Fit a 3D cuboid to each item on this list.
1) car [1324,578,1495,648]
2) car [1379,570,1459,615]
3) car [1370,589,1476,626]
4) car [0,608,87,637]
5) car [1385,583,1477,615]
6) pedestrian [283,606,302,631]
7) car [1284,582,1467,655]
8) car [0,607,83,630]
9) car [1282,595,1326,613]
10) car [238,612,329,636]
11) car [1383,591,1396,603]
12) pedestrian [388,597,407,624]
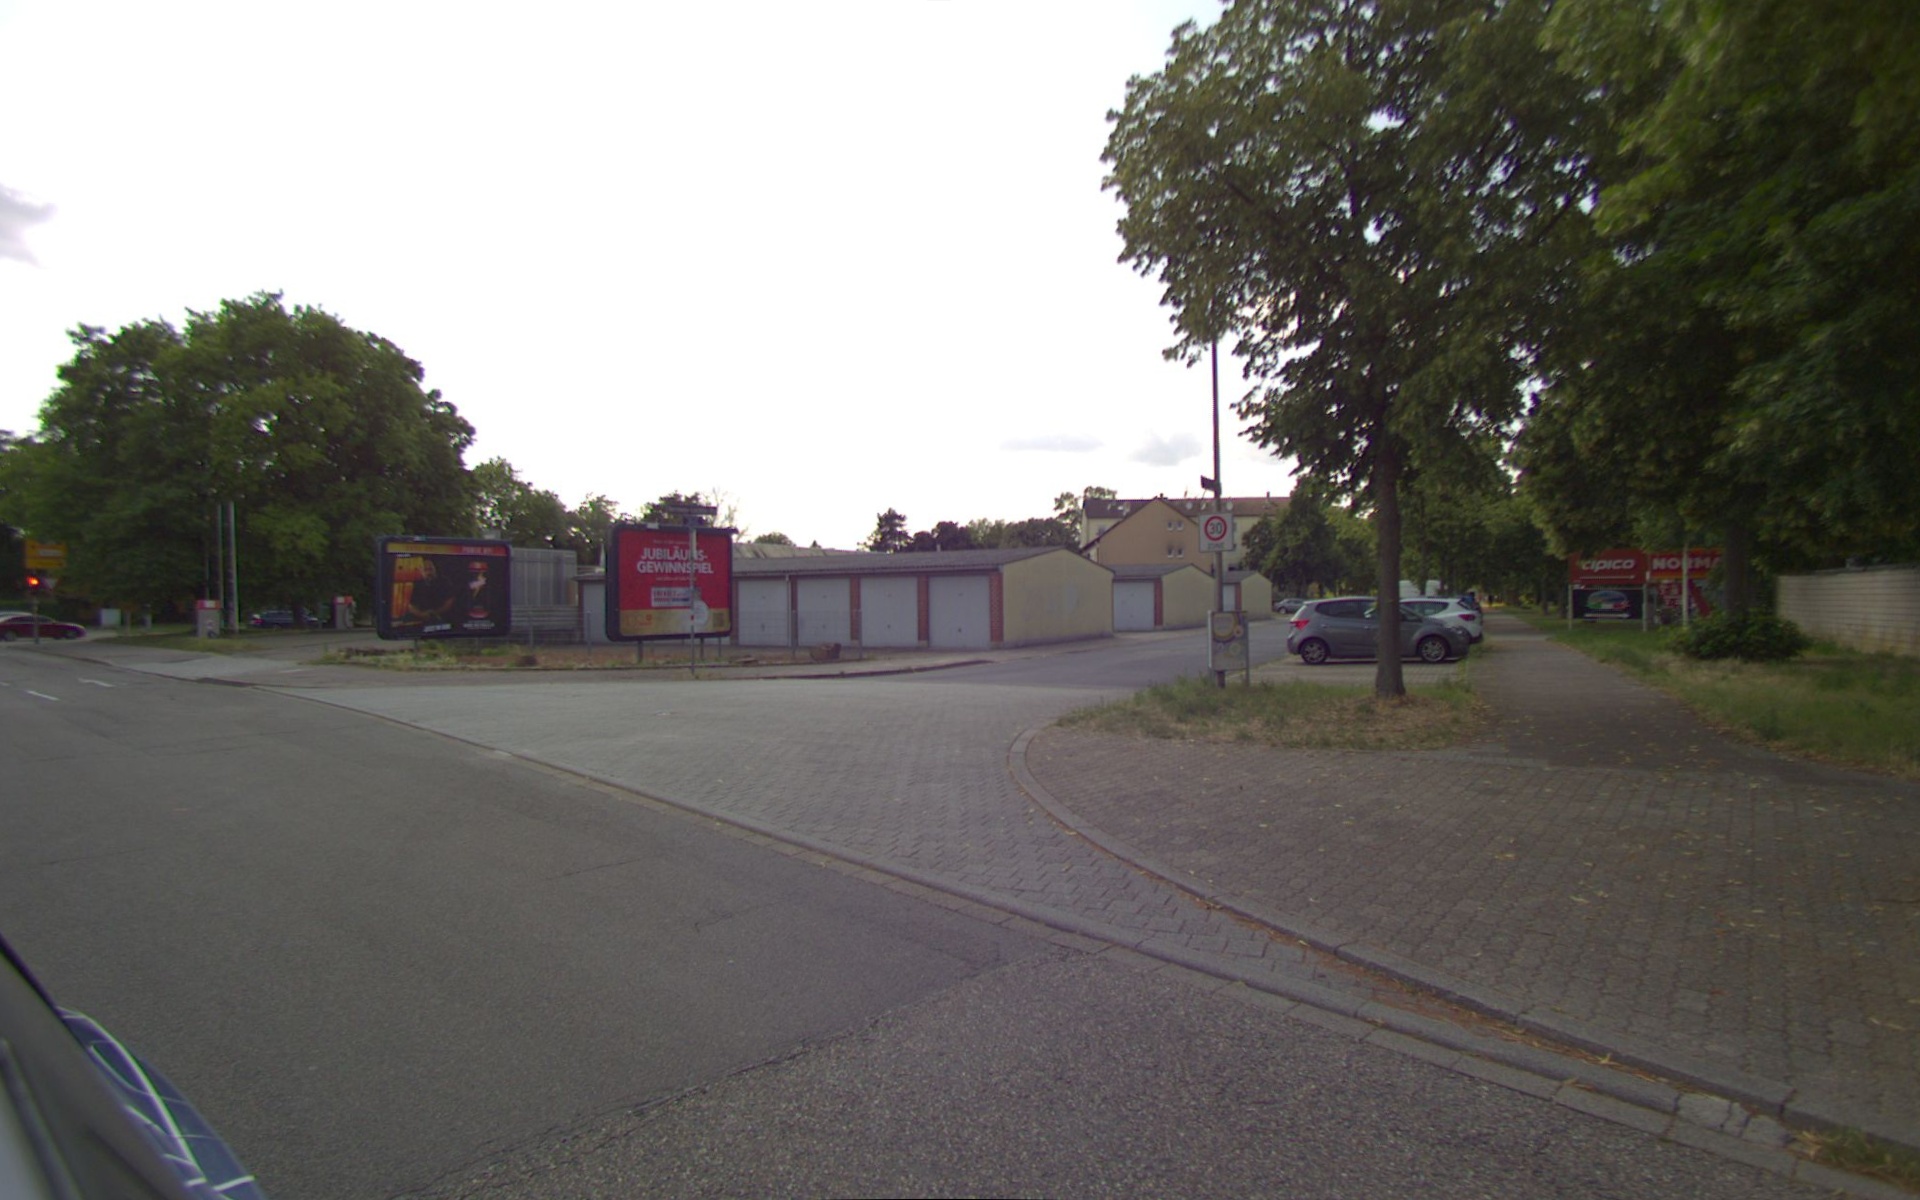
[{"bbox_3d":[11.617,0.363,26.371,3.876,1.603,1.639,-3,-2,24],"label":"car"},{"bbox_3d":[27.205,-0.426,60.002,4.238,2.547,1.837,-1,-1,27],"label":"car"},{"bbox_3d":[21.312,0.380,46.666,4.245,1.493,1.634,-3,-2,32],"label":"car"},{"bbox_3d":[-51.268,1.193,55.789,1.720,1.473,4.493,1,1,27],"label":"car"},{"bbox_3d":[25.226,-0.054,54.220,4.246,1.493,1.634,-3,-2,33],"label":"car"},{"bbox_3d":[-42.716,1.192,64.778,0.720,1.543,0.757,-1,0,11],"label":"pedestrian"},{"bbox_3d":[9.922,0.464,24.325,3.876,1.550,1.639,-3,-2,24],"label":"car"},{"bbox_3d":[-62.724,1.246,68.702,1.720,1.473,4.494,-1,0,27],"label":"car"},{"bbox_3d":[31.296,0.396,92.021,3.613,1.576,1.472,-1,-1,28],"label":"car"},{"bbox_3d":[-45.260,1.582,67.844,1.794,1.508,4.828,1,0,27],"label":"car"},{"bbox_3d":[61.219,-0.457,144.090,1.674,1.670,4.106,1,0,23],"label":"car"},{"bbox_3d":[-27.281,0.497,49.092,0.634,1.265,0.768,1,0,-16],"label":"pedestrian"}]
